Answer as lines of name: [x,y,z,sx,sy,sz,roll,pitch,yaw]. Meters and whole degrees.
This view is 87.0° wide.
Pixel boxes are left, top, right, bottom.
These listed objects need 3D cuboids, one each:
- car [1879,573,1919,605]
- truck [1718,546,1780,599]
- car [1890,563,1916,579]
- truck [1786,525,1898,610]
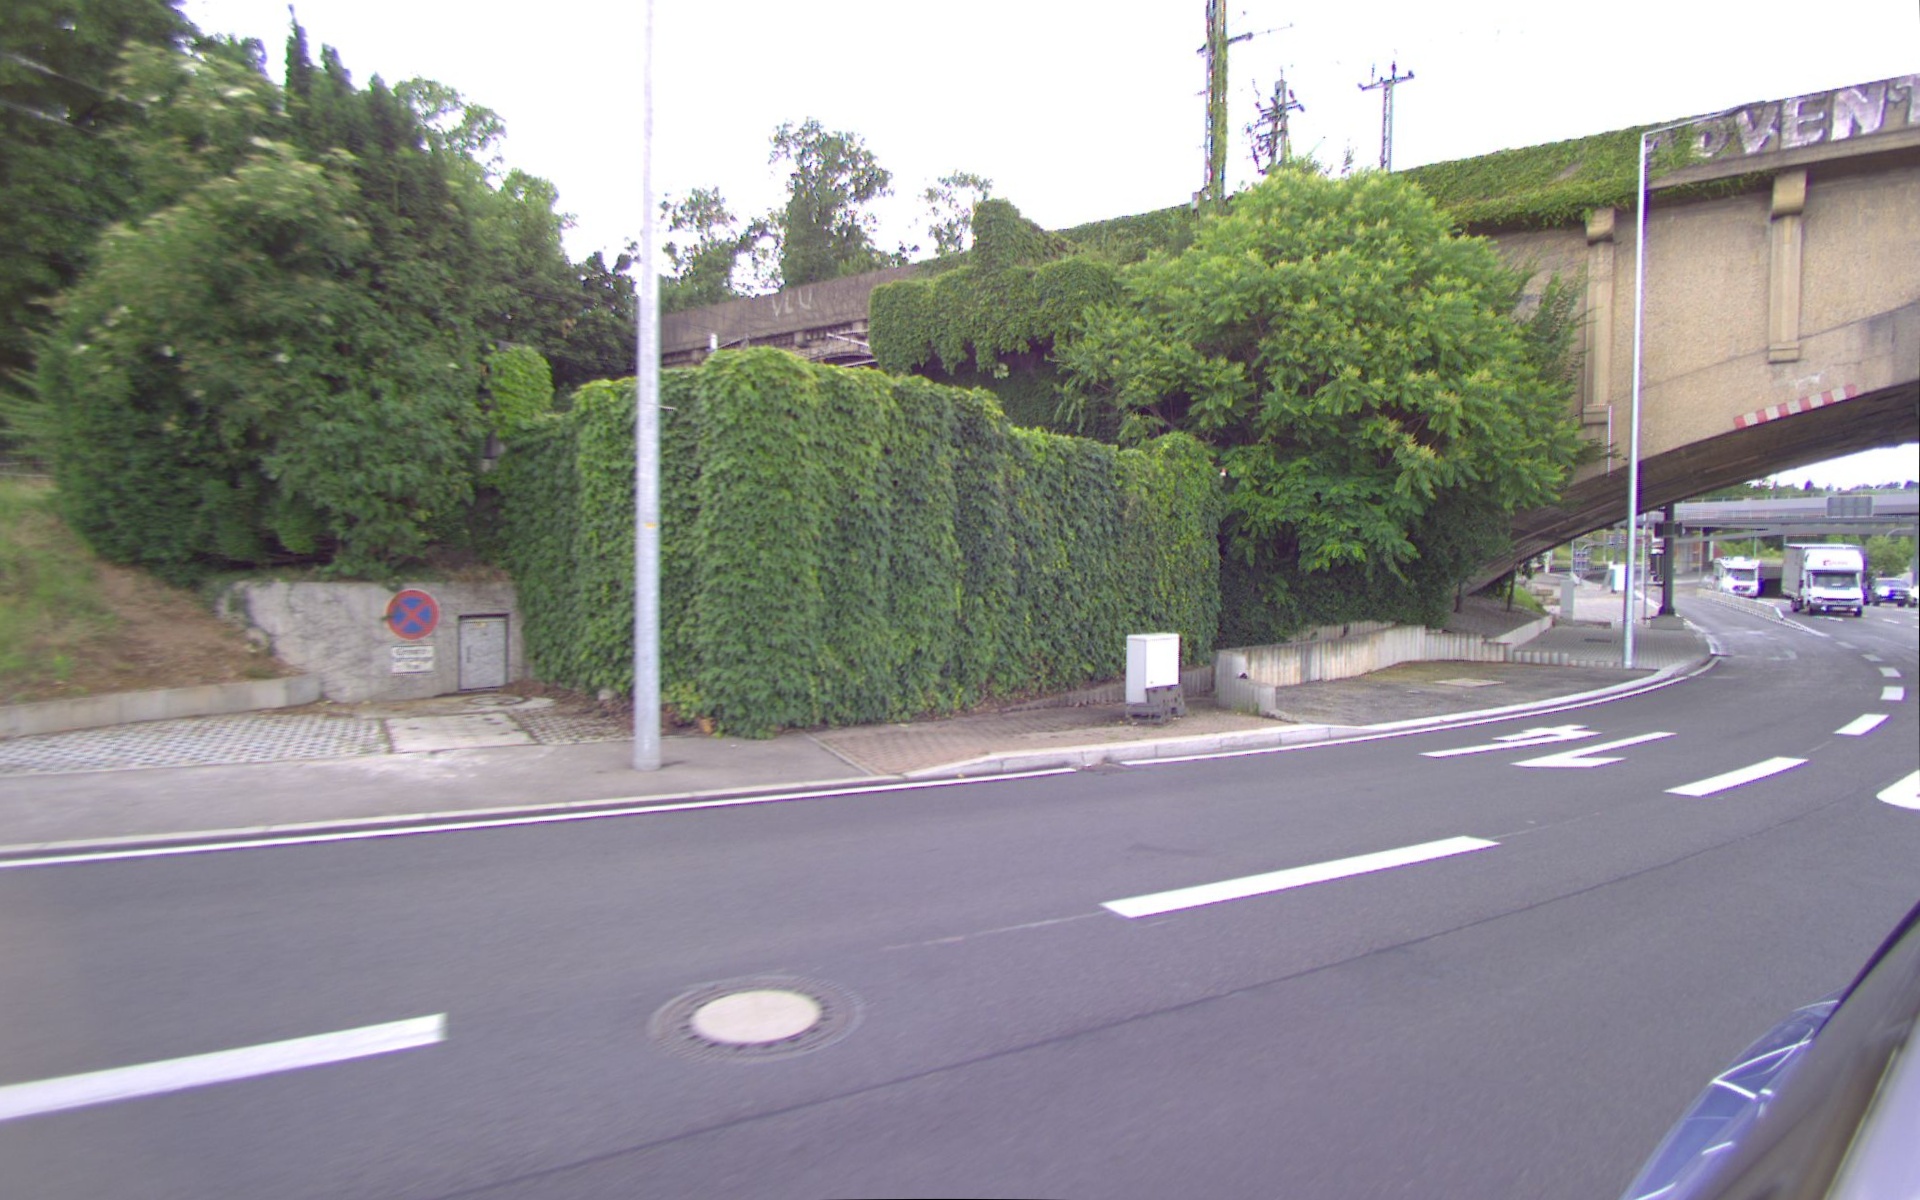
car: [57.255,-0.682,61.325,1.858,1.861,4.151,1,1,36]
truck: [57.246,-1.989,73.623,2.556,3.613,9.013,0,1,32]
car: [98.522,-3.037,105.733,1.632,1.483,3.944,-3,-1,39]
truck: [42.225,-1.454,48.731,3.015,3.633,8.836,-3,-1,35]
